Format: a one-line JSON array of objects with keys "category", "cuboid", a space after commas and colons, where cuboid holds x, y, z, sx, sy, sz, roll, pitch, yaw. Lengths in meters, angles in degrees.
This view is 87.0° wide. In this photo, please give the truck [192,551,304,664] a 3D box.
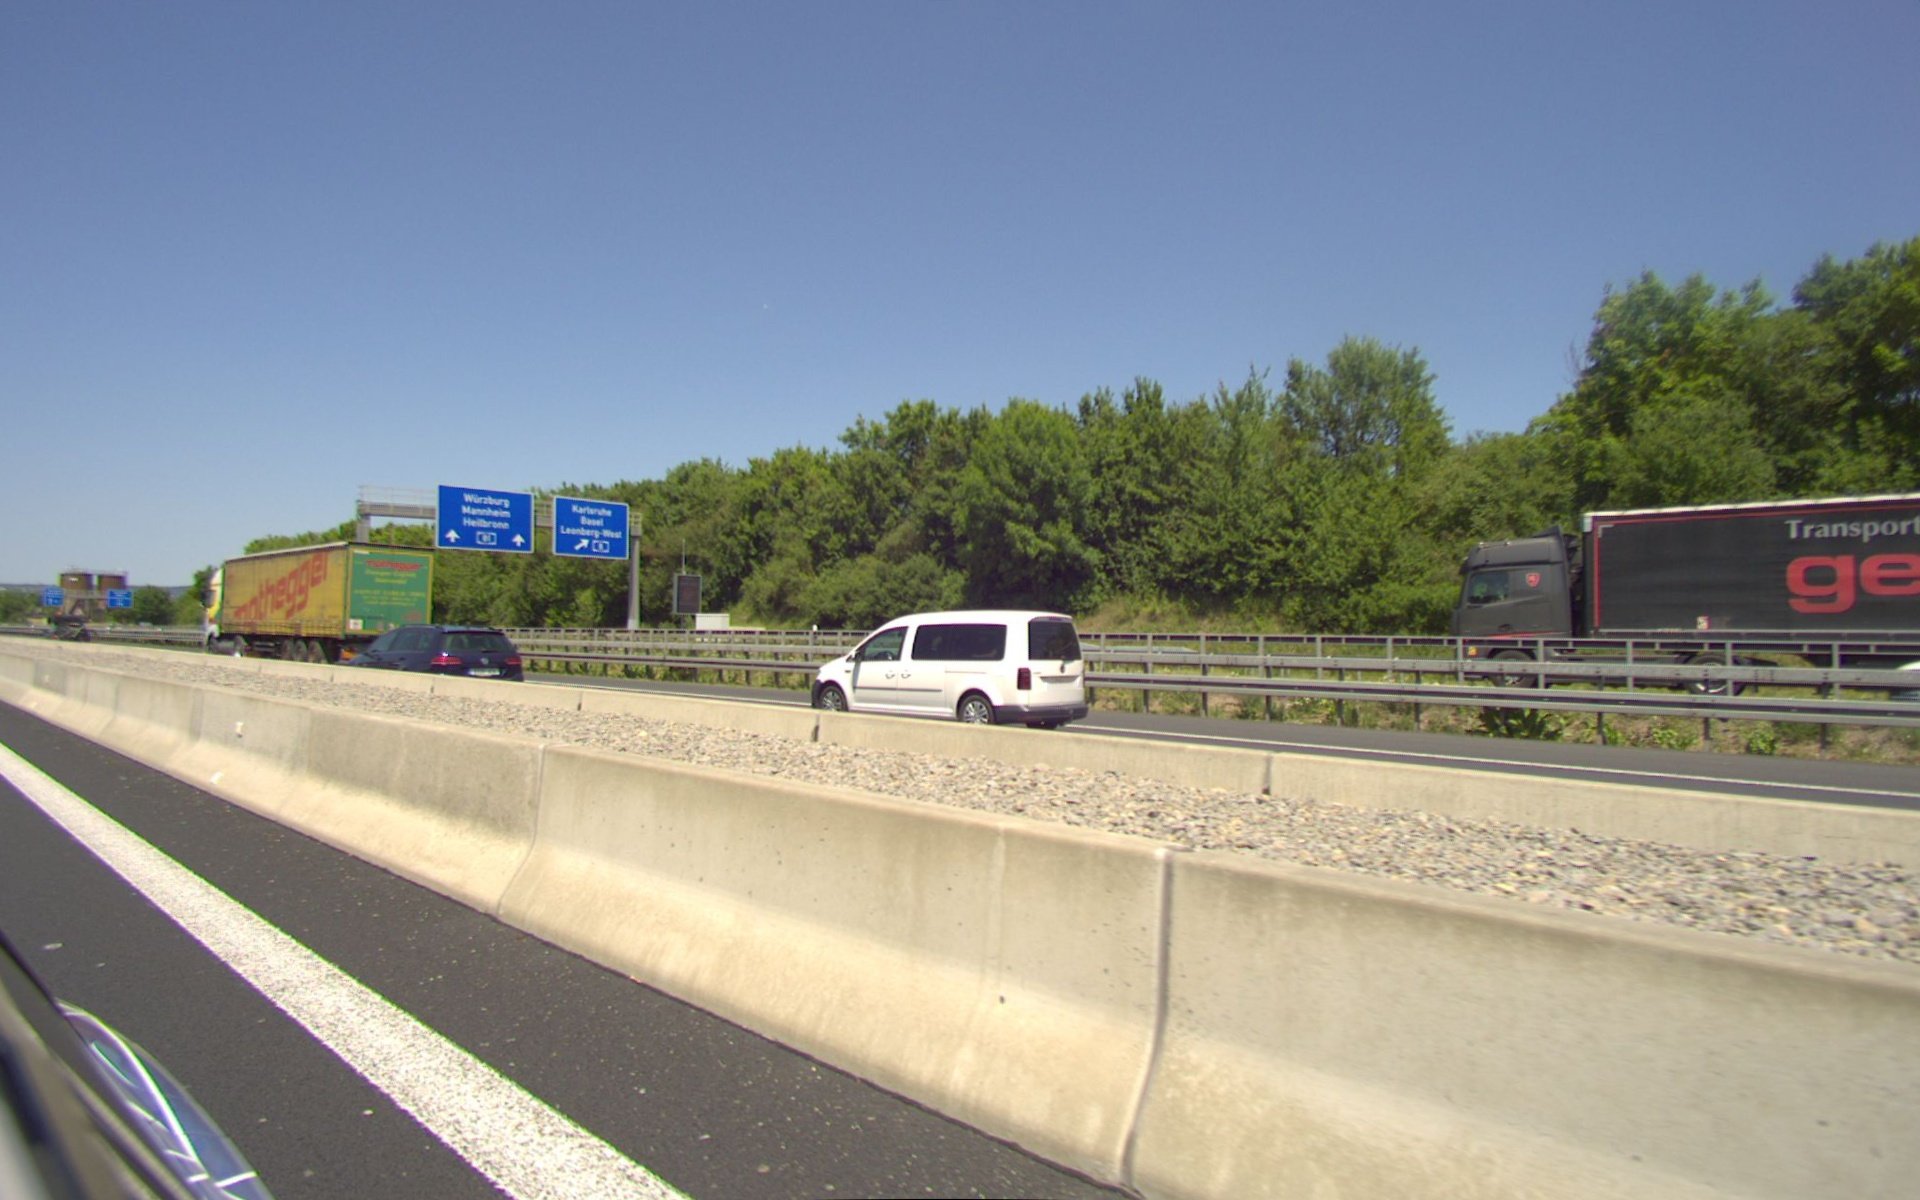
[{"category": "truck", "cuboid": [-28.913, 0.312, 41.081, 4.550, 4.320, 2.678, -1, 0, 40]}]

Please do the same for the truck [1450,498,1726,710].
[{"category": "truck", "cuboid": [14.376, 0.095, 23.297, 4.995, 4.304, 2.781, -1, 0, 41]}]

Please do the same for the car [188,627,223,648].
[{"category": "car", "cuboid": [-76.656, 3.798, 102.811, 3.997, 2.029, 1.973, -1, 0, 40]}]

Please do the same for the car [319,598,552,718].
[{"category": "car", "cuboid": [-9.414, 0.920, 17.991, 4.822, 1.840, 1.964, -1, 0, 40]}]

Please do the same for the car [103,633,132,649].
[{"category": "car", "cuboid": [-112.960, 5.461, 135.681, 4.756, 2.029, 1.928, -1, 0, 37]}]

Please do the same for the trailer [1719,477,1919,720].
[{"category": "trailer", "cuboid": [20.724, -0.066, 17.763, 11.648, 4.467, 2.765, -1, 0, 41]}]

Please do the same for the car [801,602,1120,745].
[{"category": "car", "cuboid": [-0.140, 0.977, 15.378, 4.900, 1.840, 1.724, -1, 0, 41]}]

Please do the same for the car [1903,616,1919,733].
[{"category": "car", "cuboid": [17.584, 1.165, 15.461, 4.536, 1.871, 1.973, -1, -2, 41]}]

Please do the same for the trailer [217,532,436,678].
[{"category": "trailer", "cuboid": [-22.597, 0.217, 35.482, 13.808, 4.305, 2.639, -1, 0, 41]}]

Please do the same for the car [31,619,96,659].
[{"category": "car", "cuboid": [-47.565, 2.035, 53.670, 5.344, 2.029, 1.898, -1, -2, 41]}]
